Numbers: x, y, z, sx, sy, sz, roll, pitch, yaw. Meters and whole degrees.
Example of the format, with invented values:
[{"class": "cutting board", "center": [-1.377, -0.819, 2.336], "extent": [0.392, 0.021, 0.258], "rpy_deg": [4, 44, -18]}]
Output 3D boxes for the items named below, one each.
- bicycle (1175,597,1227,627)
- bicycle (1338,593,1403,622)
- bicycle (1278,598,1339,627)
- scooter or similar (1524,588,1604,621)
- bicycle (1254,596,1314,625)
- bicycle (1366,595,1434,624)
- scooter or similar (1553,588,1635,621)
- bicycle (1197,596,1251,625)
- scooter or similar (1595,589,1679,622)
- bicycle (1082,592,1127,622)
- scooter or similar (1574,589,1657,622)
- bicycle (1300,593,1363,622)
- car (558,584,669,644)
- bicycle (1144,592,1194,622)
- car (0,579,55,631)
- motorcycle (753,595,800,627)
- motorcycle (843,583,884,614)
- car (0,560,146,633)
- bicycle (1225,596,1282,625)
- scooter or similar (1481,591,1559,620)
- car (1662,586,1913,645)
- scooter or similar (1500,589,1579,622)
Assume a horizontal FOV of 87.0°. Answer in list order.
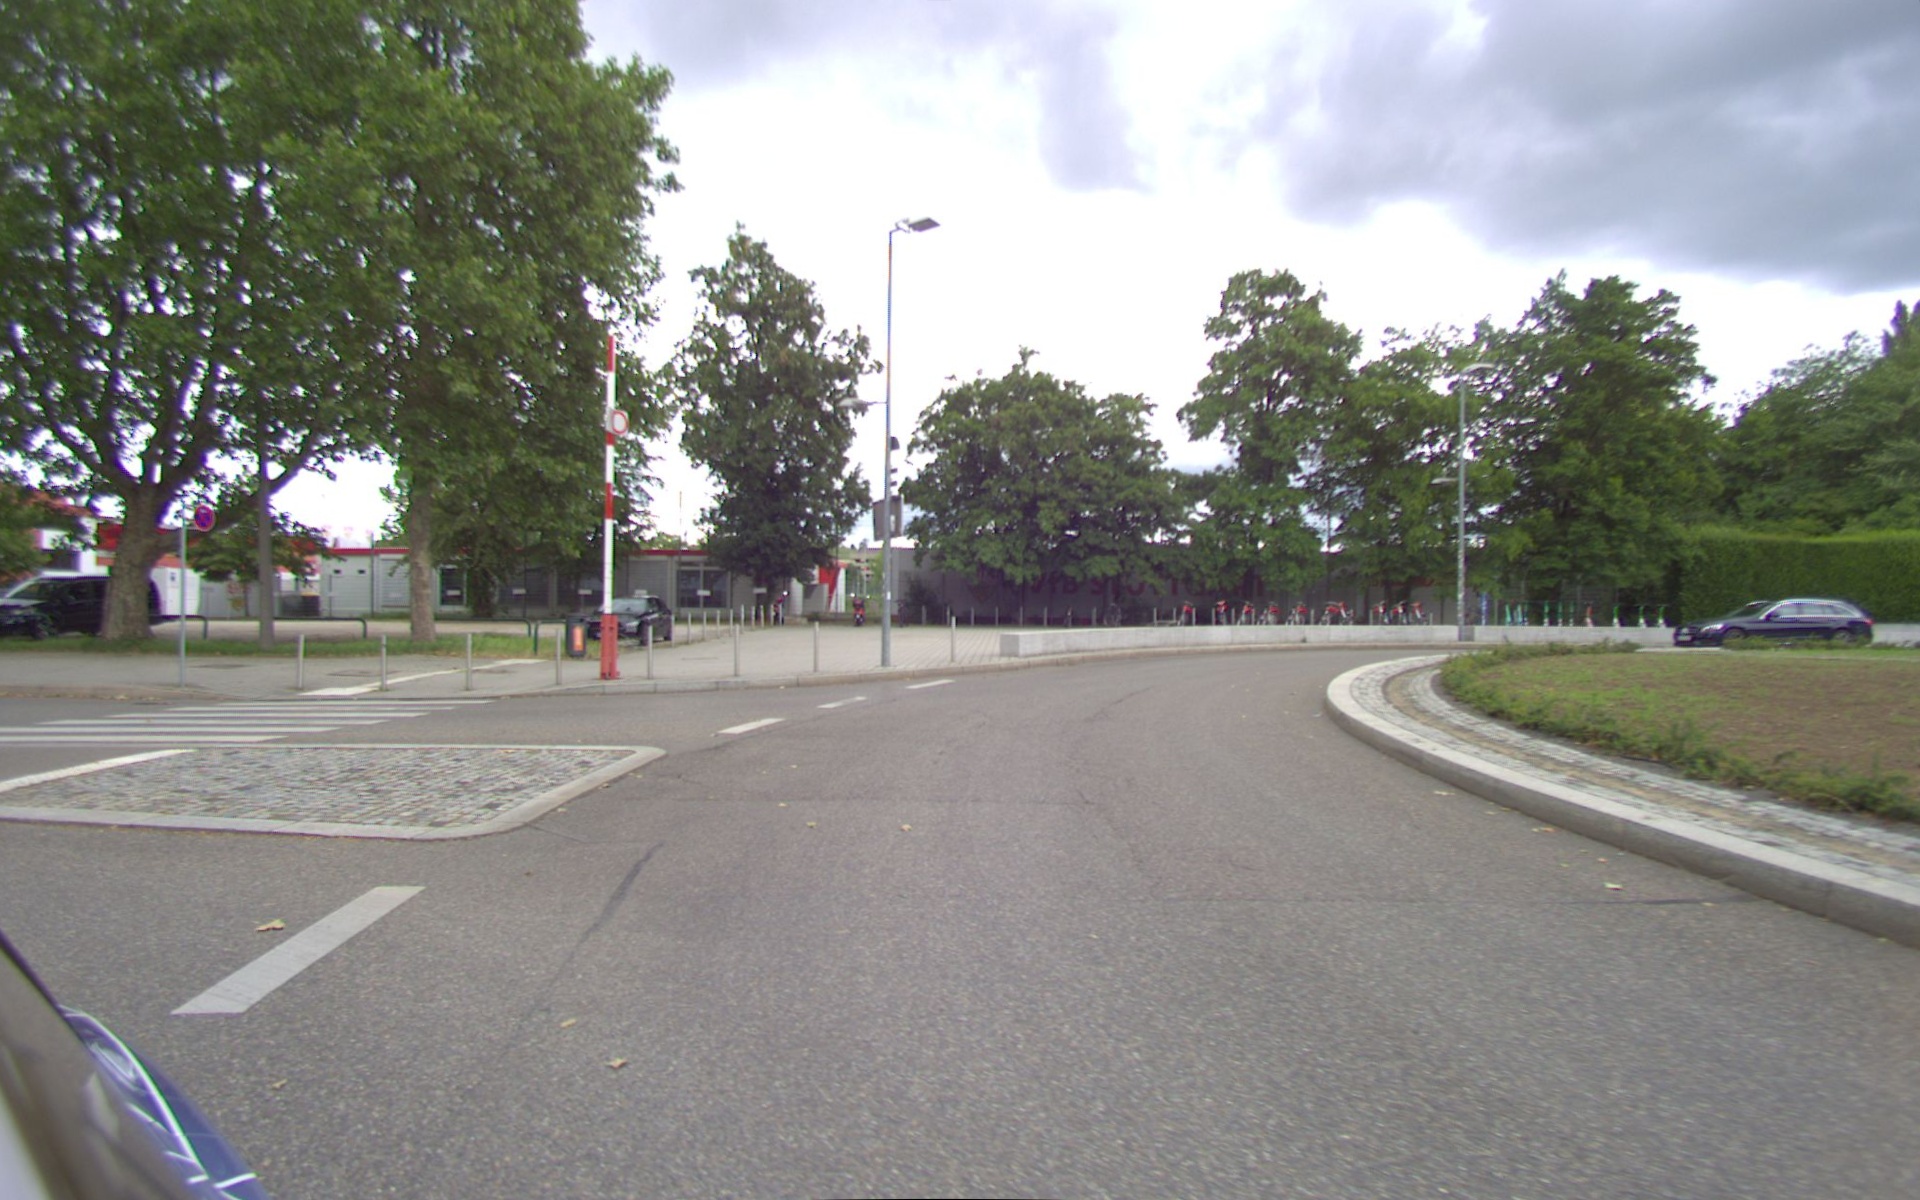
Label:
[{"class": "bicycle", "center": [9.824, 0.473, 41.444], "extent": [0.760, 1.105, 3.200], "rpy_deg": [0, 1, -12]}, {"class": "bicycle", "center": [16.608, 0.281, 41.039], "extent": [0.760, 1.105, 3.200], "rpy_deg": [0, 1, -12]}, {"class": "bicycle", "center": [14.093, 0.477, 41.089], "extent": [0.760, 1.105, 3.200], "rpy_deg": [0, 1, -12]}, {"class": "scooter or similar", "center": [24.202, 0.141, 40.643], "extent": [0.760, 1.259, 3.200], "rpy_deg": [0, 1, -12]}, {"class": "bicycle", "center": [12.992, 0.427, 40.731], "extent": [0.760, 1.105, 3.200], "rpy_deg": [0, -1, -12]}, {"class": "bicycle", "center": [17.804, 0.363, 41.039], "extent": [0.760, 1.105, 3.200], "rpy_deg": [0, 1, -12]}, {"class": "scooter or similar", "center": [25.619, 0.168, 40.972], "extent": [0.760, 1.259, 3.200], "rpy_deg": [0, 1, -12]}, {"class": "bicycle", "center": [10.791, 0.424, 41.468], "extent": [0.760, 1.105, 3.200], "rpy_deg": [0, 1, -12]}, {"class": "scooter or similar", "center": [27.590, 0.191, 41.359], "extent": [0.760, 1.259, 3.200], "rpy_deg": [0, 1, -12]}, {"class": "bicycle", "center": [5.770, 0.247, 40.692], "extent": [0.760, 1.105, 3.200], "rpy_deg": [0, 1, -12]}, {"class": "scooter or similar", "center": [26.664, 0.193, 41.269], "extent": [0.760, 1.259, 3.200], "rpy_deg": [0, 1, -12]}, {"class": "bicycle", "center": [15.133, 0.272, 41.348], "extent": [0.760, 1.105, 3.200], "rpy_deg": [0, 1, -12]}, {"class": "car", "center": [-10.018, 0.388, 29.584], "extent": [2.198, 1.617, 4.005], "rpy_deg": [0, 0, -6]}, {"class": "bicycle", "center": [8.491, 0.268, 41.236], "extent": [0.760, 1.105, 3.200], "rpy_deg": [0, 1, -12]}, {"class": "car", "center": [-30.829, 0.159, 30.869], "extent": [2.082, 1.579, 4.634], "rpy_deg": [1, 1, 5]}, {"class": "motorcycle", "center": [-7.555, 0.426, 41.919], "extent": [0.764, 1.231, 3.662], "rpy_deg": [1, 1, 9]}, {"class": "motorcycle", "center": [-3.941, -0.082, 41.618], "extent": [0.764, 1.231, 3.662], "rpy_deg": [1, 1, 9]}, {"class": "car", "center": [-27.900, -0.133, 30.845], "extent": [2.234, 2.041, 4.624], "rpy_deg": [1, 1, 5]}, {"class": "bicycle", "center": [11.920, 0.404, 41.252], "extent": [0.760, 1.105, 3.200], "rpy_deg": [0, 0, -12]}, {"class": "scooter or similar", "center": [22.203, 0.200, 40.248], "extent": [0.760, 1.105, 3.200], "rpy_deg": [0, 1, -12]}, {"class": "car", "center": [22.213, 0.376, 27.369], "extent": [4.876, 1.471, 1.995], "rpy_deg": [1, 1, 8]}, {"class": "scooter or similar", "center": [23.111, 0.185, 40.457], "extent": [0.760, 1.259, 3.200], "rpy_deg": [0, 1, -12]}]
